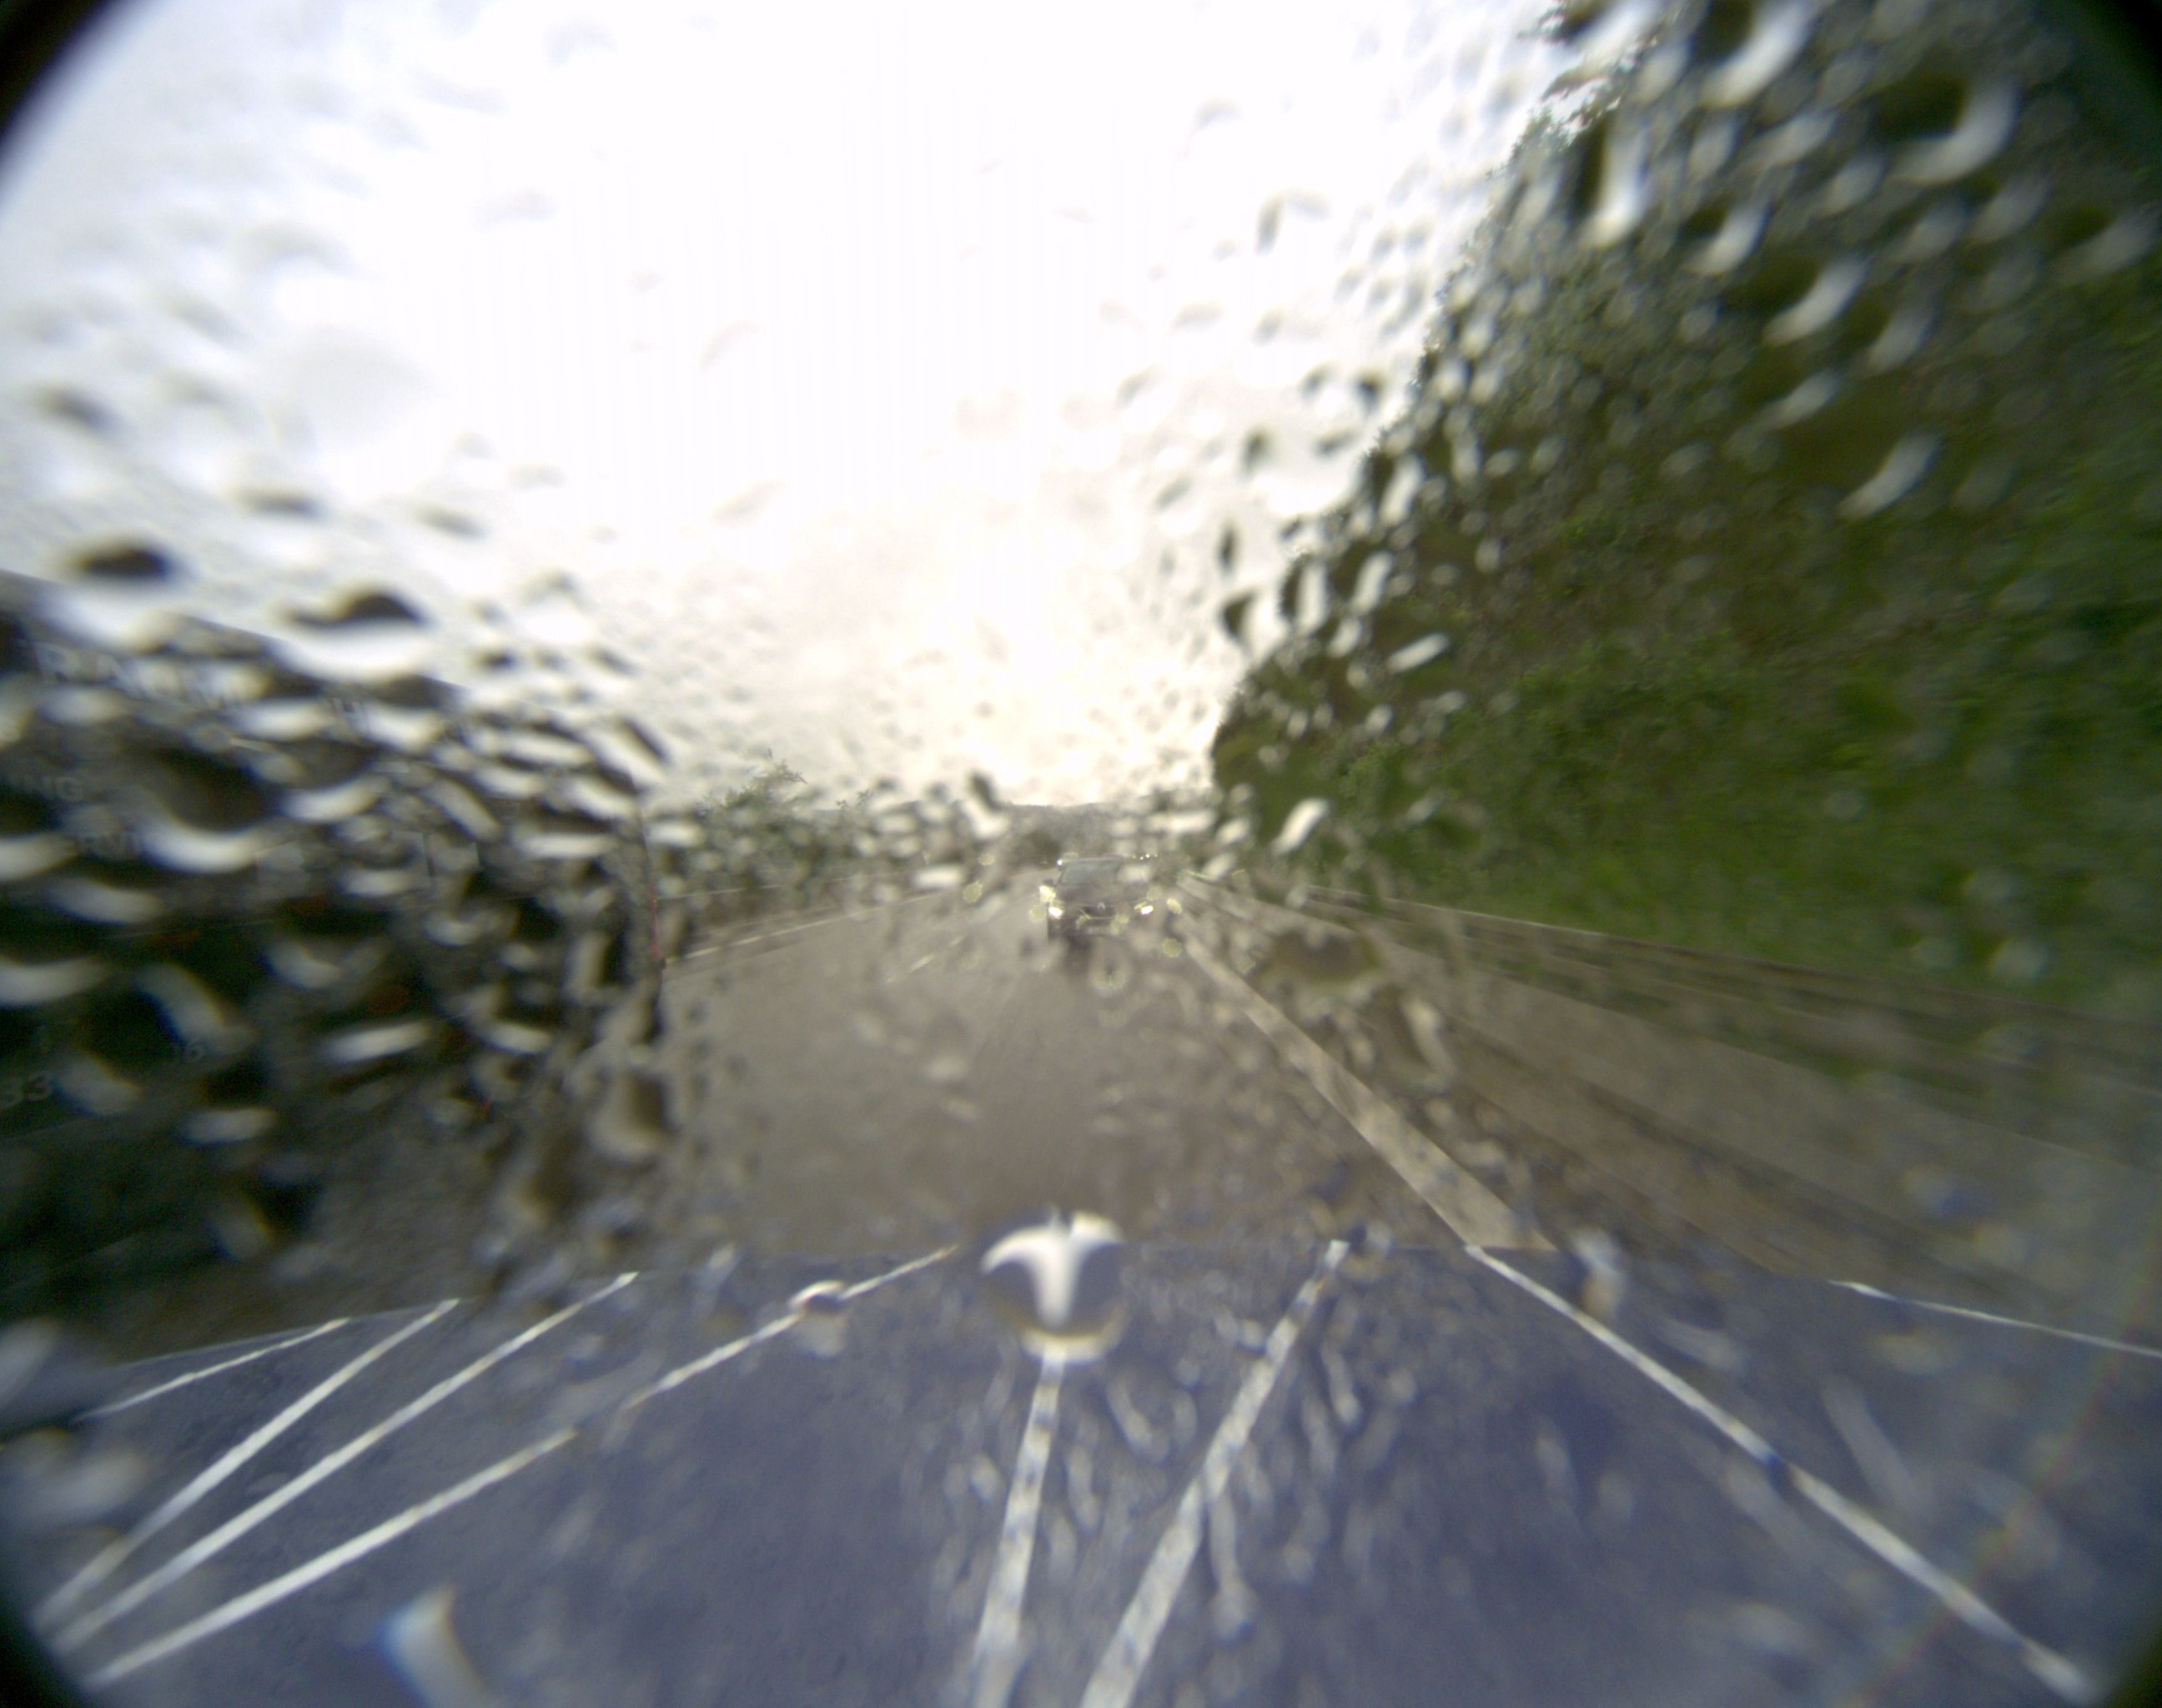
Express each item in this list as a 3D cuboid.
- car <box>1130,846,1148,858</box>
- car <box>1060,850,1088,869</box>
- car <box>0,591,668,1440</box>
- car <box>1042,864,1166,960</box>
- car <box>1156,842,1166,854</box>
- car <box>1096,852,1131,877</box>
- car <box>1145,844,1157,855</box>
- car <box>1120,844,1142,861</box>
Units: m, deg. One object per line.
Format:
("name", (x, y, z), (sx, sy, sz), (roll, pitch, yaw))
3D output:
("car", (7.083, -0.205, 92.026), (1.990, 1.316, 4.144), (-2, 1, 6))
("car", (-0.558, 0.450, 66.237), (1.990, 1.407, 4.565), (-2, 1, 5))
("car", (-4.164, 0.486, 2.352), (1.998, 2.480, 6.704), (-2, 1, 0))
("car", (0.449, 0.909, 13.631), (1.839, 1.316, 4.135), (-2, 0, 3))
("car", (13.664, -1.085, 130.183), (1.591, 1.895, 3.755), (-2, 1, 6))
("car", (1.942, 0.578, 44.513), (1.712, 1.316, 3.946), (-2, 1, 7))
("car", (10.423, -0.623, 112.557), (1.657, 1.535, 3.665), (-2, 1, 7))
("car", (4.840, -0.177, 72.986), (1.905, 1.545, 4.565), (-2, 1, 6))
